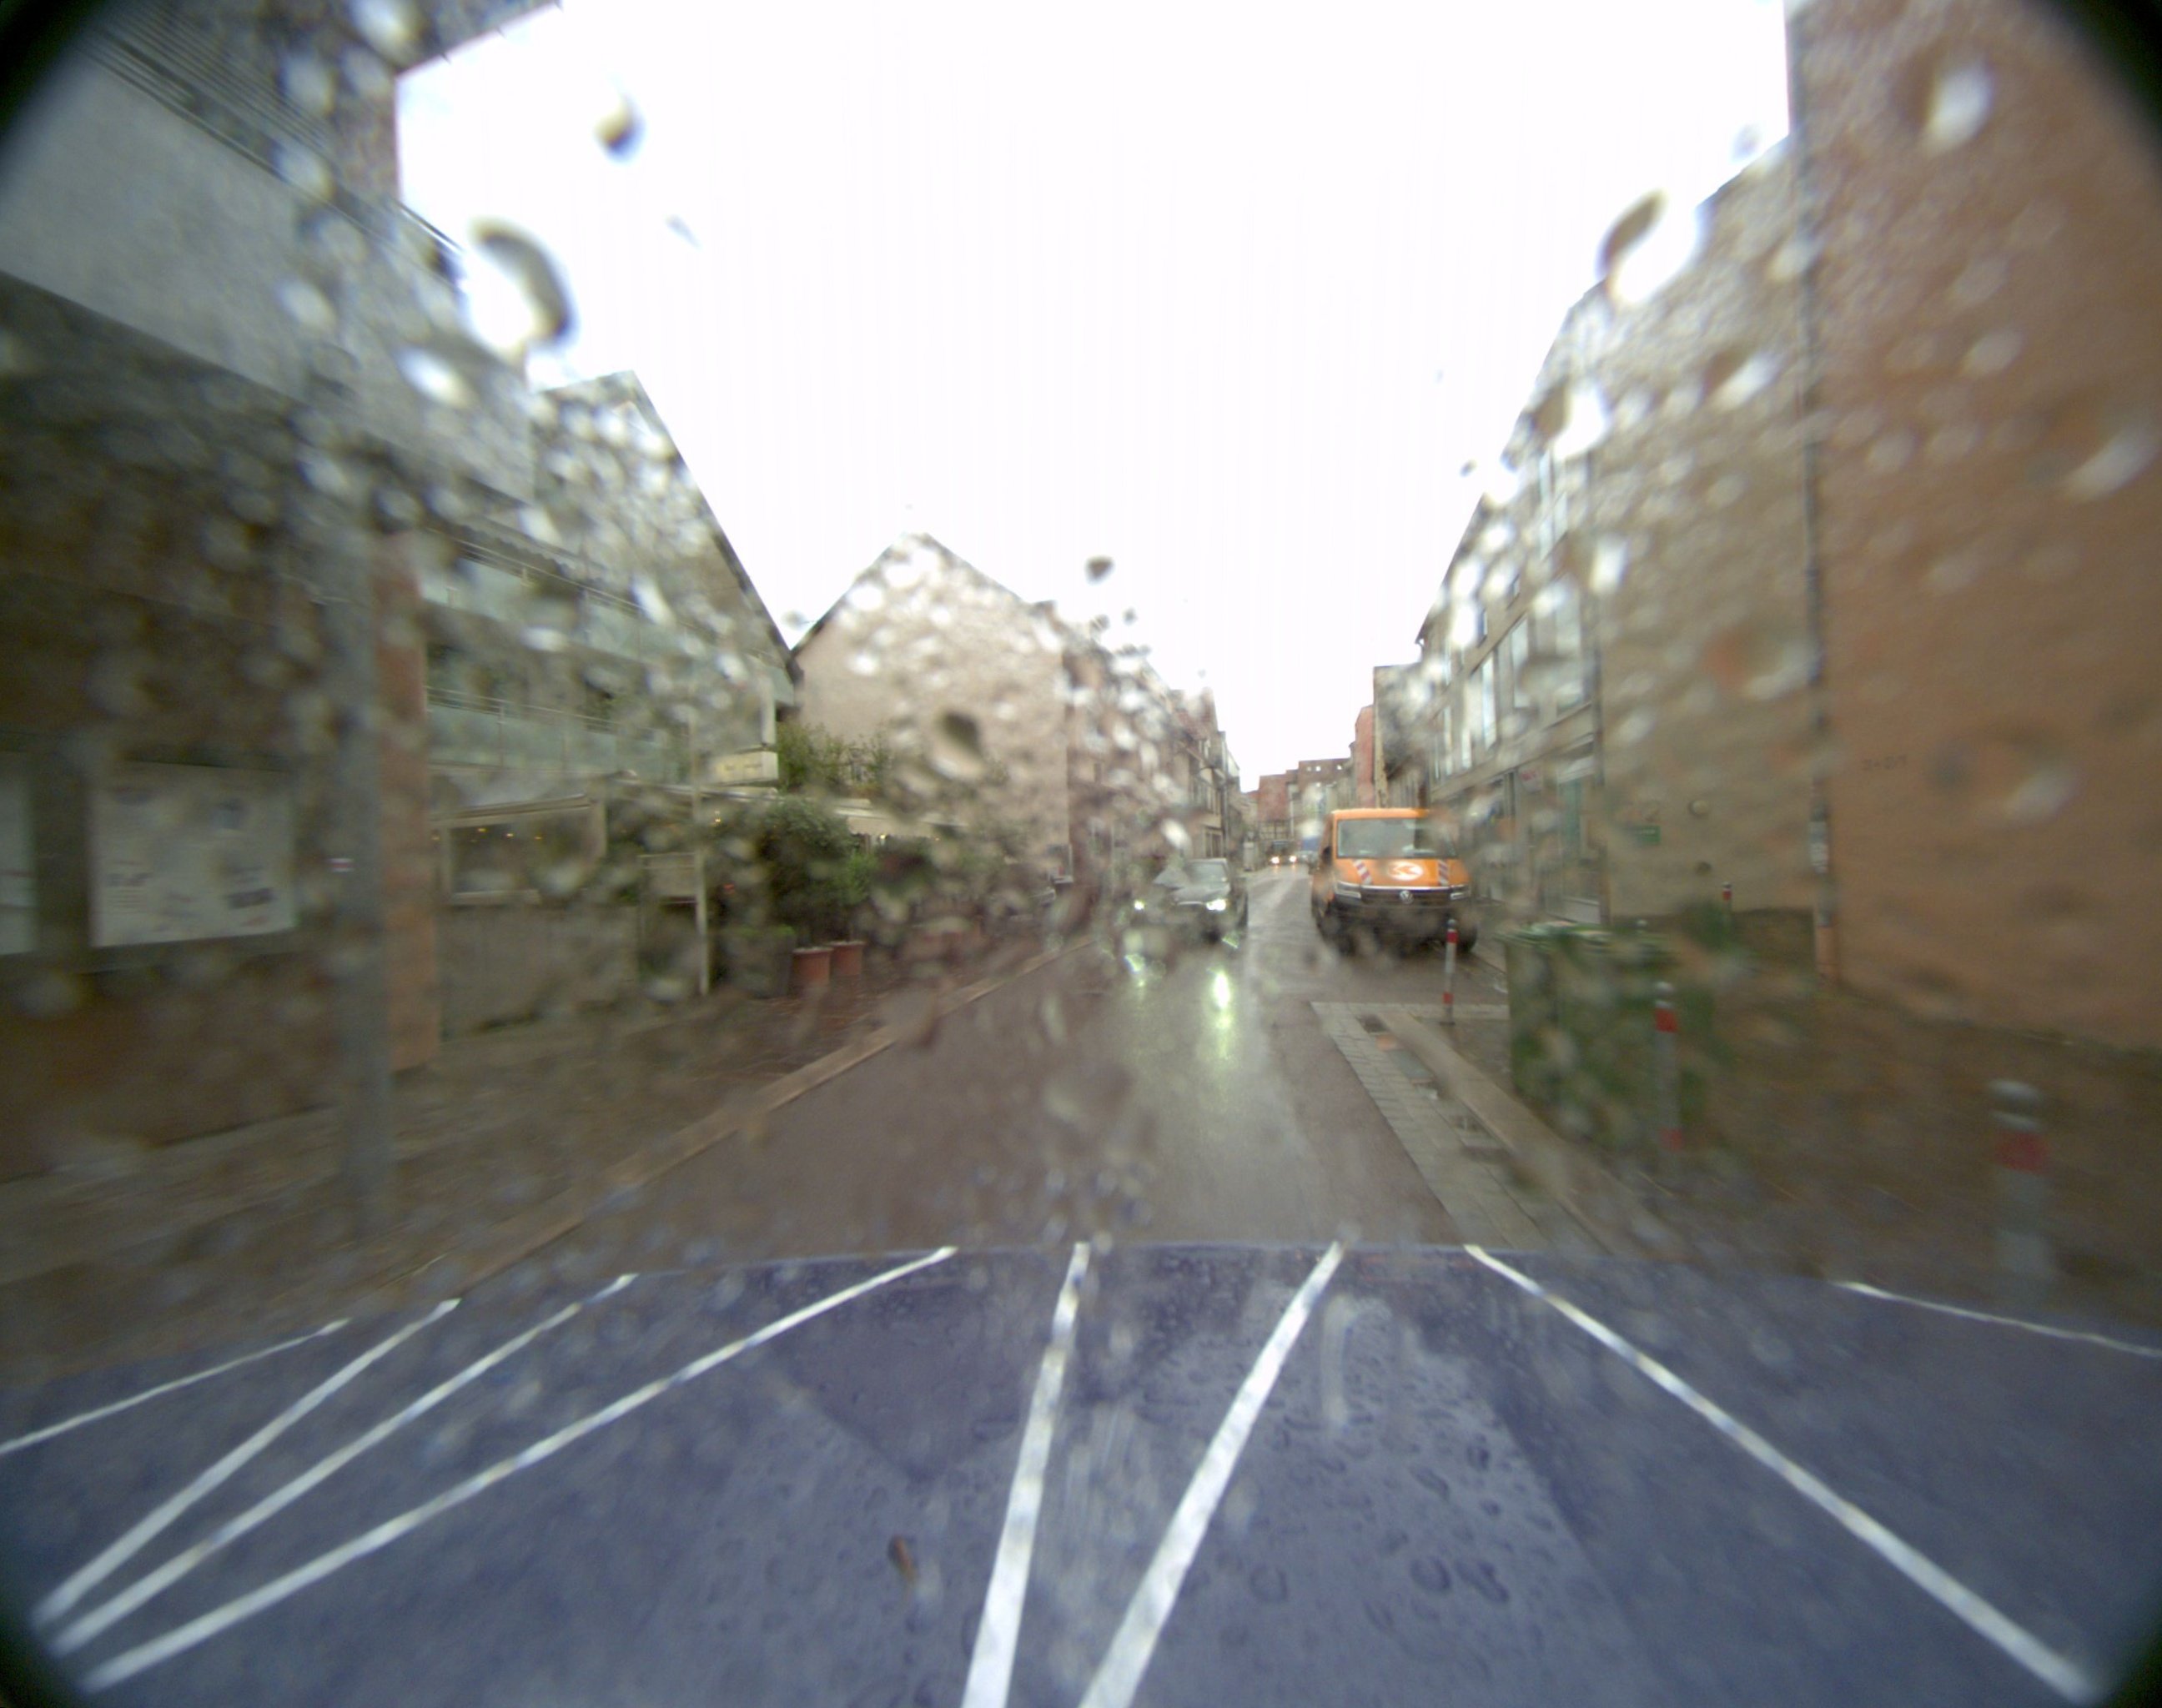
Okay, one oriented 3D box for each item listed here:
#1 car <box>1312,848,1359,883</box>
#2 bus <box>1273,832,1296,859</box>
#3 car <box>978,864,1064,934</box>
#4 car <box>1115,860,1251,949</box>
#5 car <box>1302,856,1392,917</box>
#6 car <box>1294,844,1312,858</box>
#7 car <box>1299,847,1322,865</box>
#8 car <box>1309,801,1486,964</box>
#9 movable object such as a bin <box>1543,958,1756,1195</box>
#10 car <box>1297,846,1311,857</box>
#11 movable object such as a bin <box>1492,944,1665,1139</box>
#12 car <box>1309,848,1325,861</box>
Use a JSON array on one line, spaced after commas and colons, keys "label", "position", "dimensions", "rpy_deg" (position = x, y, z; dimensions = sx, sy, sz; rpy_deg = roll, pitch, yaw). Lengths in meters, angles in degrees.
[{"label": "car", "position": [11.849, 0.508, 35.549], "dimensions": [1.737, 1.516, 3.935], "rpy_deg": [-1, 0, 14]}, {"label": "bus", "position": [25.214, -1.033, 94.193], "dimensions": [2.608, 3.175, 7.383], "rpy_deg": [-1, 1, 15]}, {"label": "car", "position": [-1.478, 0.954, 17.644], "dimensions": [1.739, 1.349, 3.934], "rpy_deg": [-2, 0, -7]}, {"label": "car", "position": [2.182, 0.895, 15.048], "dimensions": [1.945, 1.394, 4.425], "rpy_deg": [-2, 0, 17]}, {"label": "car", "position": [6.677, 0.750, 19.467], "dimensions": [1.759, 1.348, 4.486], "rpy_deg": [-2, 0, 14]}, {"label": "car", "position": [26.981, -0.368, 92.376], "dimensions": [1.996, 1.586, 4.004], "rpy_deg": [-1, 0, 16]}, {"label": "car", "position": [18.128, 0.158, 59.971], "dimensions": [1.630, 1.359, 3.493], "rpy_deg": [-2, 0, 17]}, {"label": "car", "position": [5.242, 0.388, 13.440], "dimensions": [1.996, 2.226, 5.867], "rpy_deg": [-1, 0, 14]}, {"label": "movable object such as a bin", "position": [2.881, 1.093, 3.914], "dimensions": [0.658, 1.030, 0.610], "rpy_deg": [0, 0, 6]}, {"label": "car", "position": [28.467, -0.291, 97.115], "dimensions": [1.630, 1.359, 3.493], "rpy_deg": [-2, 0, 17]}, {"label": "movable object such as a bin", "position": [2.990, 1.102, 4.626], "dimensions": [0.658, 1.030, 0.610], "rpy_deg": [-2, 1, 6]}, {"label": "car", "position": [25.128, 0.060, 80.955], "dimensions": [1.630, 1.359, 3.493], "rpy_deg": [-2, 0, 17]}]
